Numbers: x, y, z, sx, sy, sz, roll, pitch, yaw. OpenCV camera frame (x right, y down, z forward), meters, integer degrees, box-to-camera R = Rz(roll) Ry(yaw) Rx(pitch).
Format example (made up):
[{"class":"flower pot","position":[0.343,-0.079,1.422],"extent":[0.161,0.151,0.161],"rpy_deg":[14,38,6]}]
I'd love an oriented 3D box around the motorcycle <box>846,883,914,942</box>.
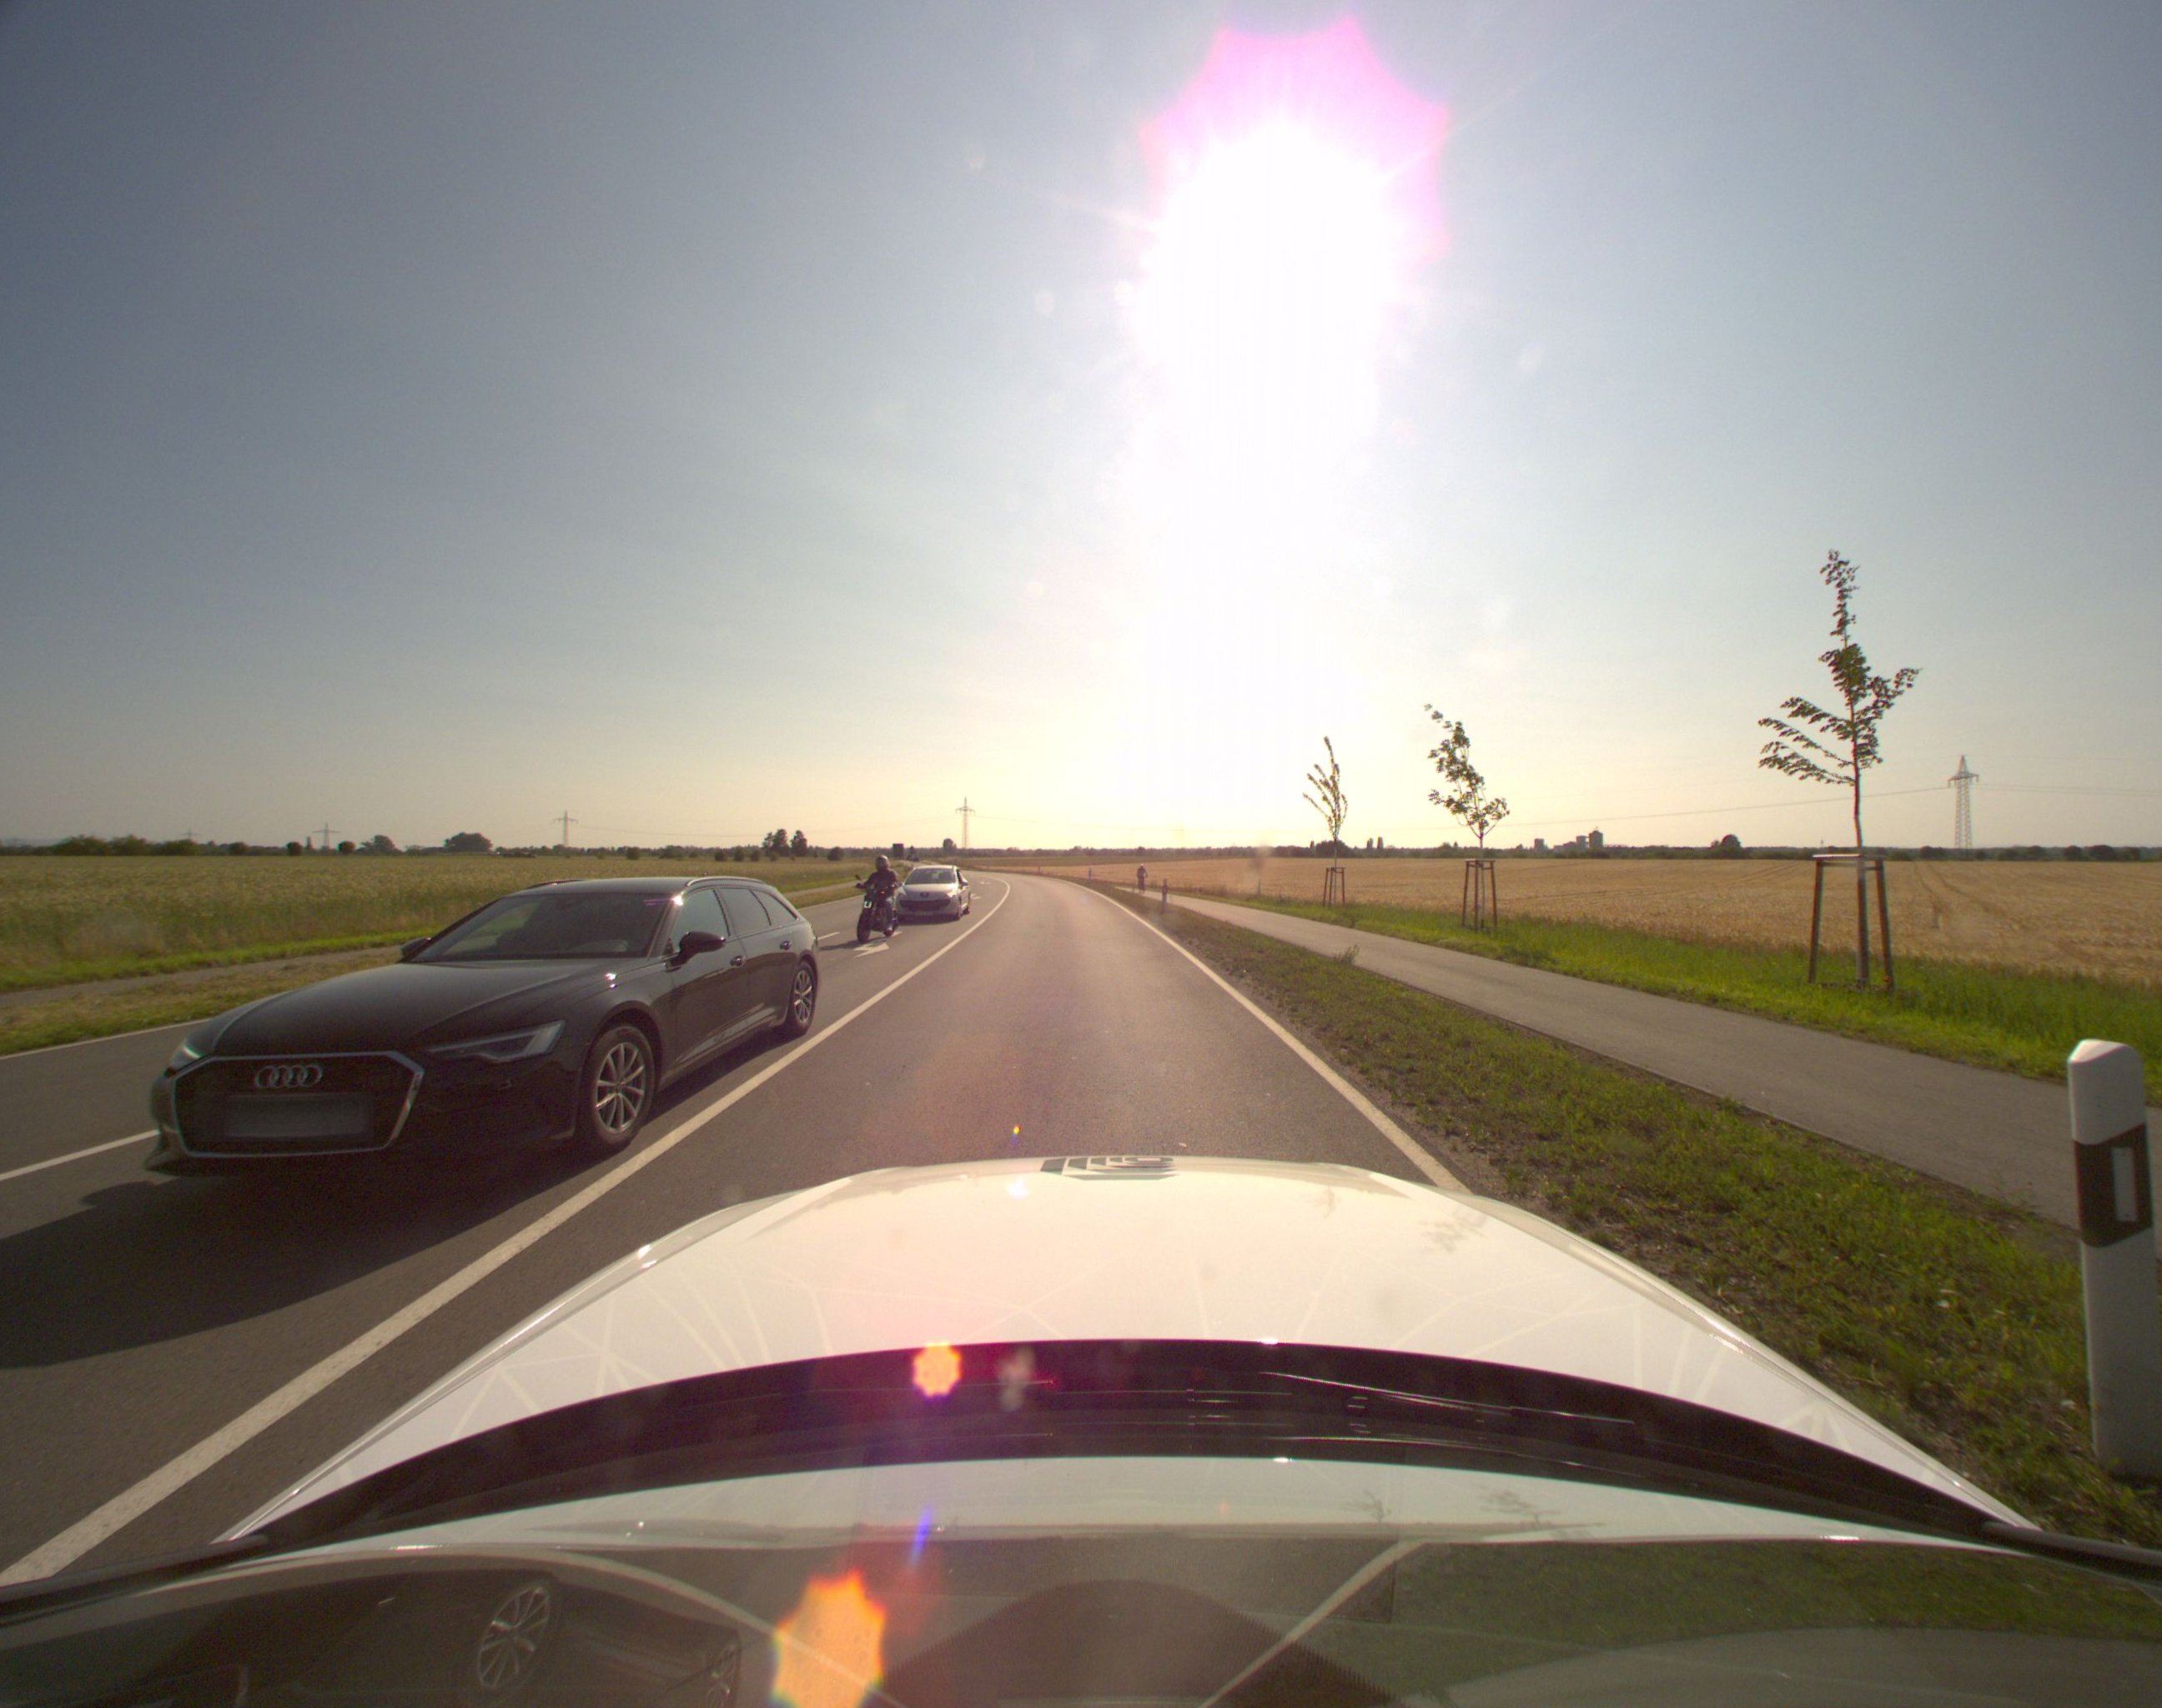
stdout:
[{"class":"motorcycle","position":[-4.103,1.171,16.768],"extent":[0.868,1.073,1.969],"rpy_deg":[-1,0,1]}]

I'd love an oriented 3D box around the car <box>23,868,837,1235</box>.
[{"class":"car","position":[-3.382,0.847,5.745],"extent":[1.884,1.436,4.795],"rpy_deg":[-1,-1,0]}]

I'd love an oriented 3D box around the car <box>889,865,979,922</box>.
[{"class":"car","position":[-4.042,1.053,22.972],"extent":[1.680,1.403,4.001],"rpy_deg":[-1,-1,1]}]

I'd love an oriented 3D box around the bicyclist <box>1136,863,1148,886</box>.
[{"class":"bicyclist","position":[3.965,1.327,52.710],"extent":[0.636,1.457,0.815],"rpy_deg":[2,-1,-5]}]

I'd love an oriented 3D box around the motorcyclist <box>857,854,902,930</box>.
[{"class":"motorcyclist","position":[-4.115,0.762,16.661],"extent":[0.675,1.495,0.847],"rpy_deg":[-1,-1,0]}]

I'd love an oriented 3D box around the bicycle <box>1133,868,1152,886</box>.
[{"class":"bicycle","position":[3.955,1.462,52.612],"extent":[0.844,1.142,2.202],"rpy_deg":[2,-1,-5]}]
